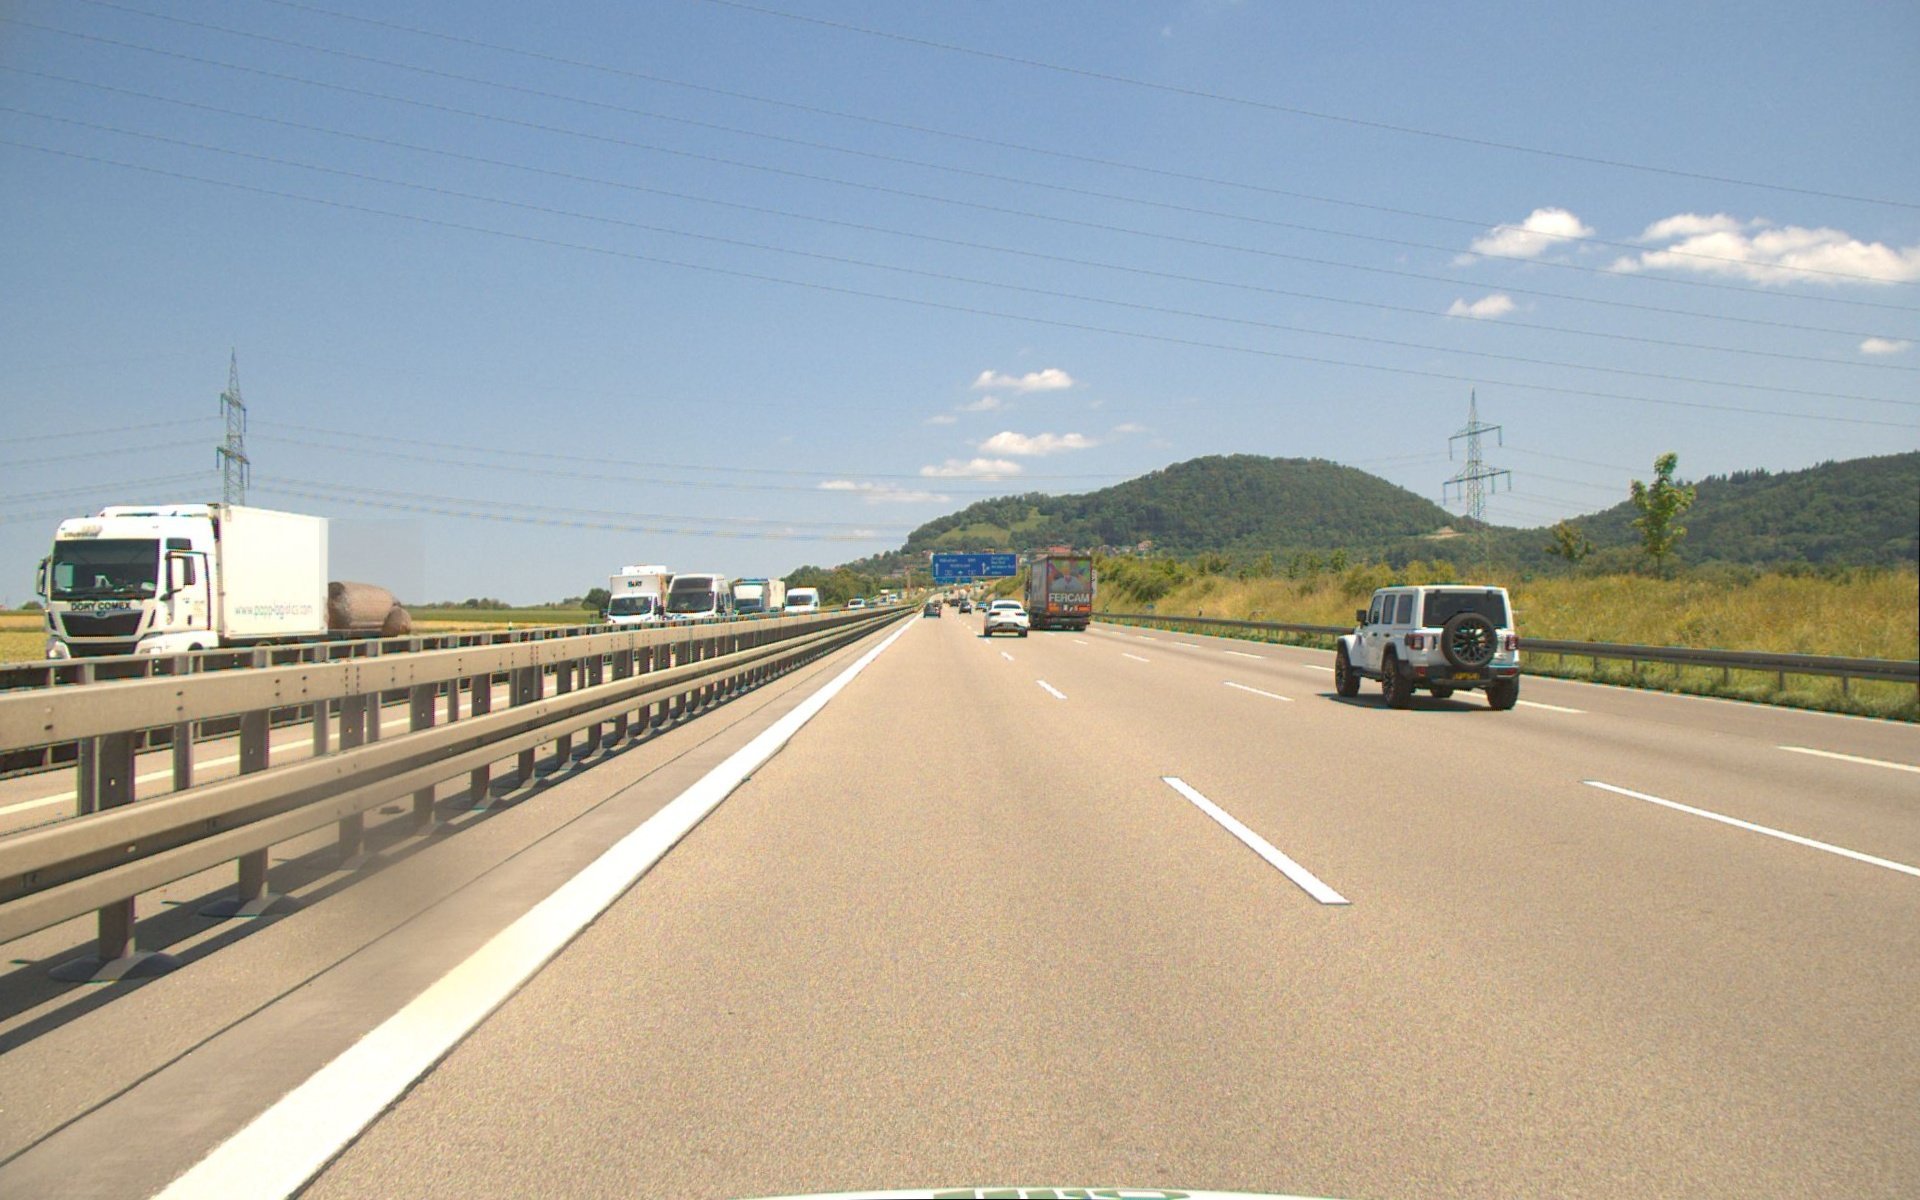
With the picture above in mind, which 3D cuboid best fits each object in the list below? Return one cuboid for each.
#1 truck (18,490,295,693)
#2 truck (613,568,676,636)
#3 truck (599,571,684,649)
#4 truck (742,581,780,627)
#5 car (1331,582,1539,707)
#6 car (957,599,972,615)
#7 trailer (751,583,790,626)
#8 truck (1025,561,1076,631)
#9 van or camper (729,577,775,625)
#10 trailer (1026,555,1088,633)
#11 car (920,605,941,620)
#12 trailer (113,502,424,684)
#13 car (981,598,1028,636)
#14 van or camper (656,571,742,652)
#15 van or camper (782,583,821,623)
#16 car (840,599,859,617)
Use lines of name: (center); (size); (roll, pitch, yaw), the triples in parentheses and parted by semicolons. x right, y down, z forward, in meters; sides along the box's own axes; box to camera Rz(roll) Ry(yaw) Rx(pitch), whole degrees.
truck: (-17.273, -0.131, 36.123); (2.879, 3.999, 6.475); (1, -1, -1)
truck: (-18.273, 0.131, 96.112); (2.663, 3.755, 6.053); (1, -1, -2)
truck: (-13.515, 0.431, 70.596); (2.204, 3.062, 7.426); (-2, 0, -1)
truck: (-18.678, 0.372, 155.718); (2.763, 4.161, 7.529); (1, -1, -1)
car: (7.470, 0.654, 26.454); (1.993, 1.836, 4.249); (0, 0, -2)
car: (0.621, 0.949, 221.377); (1.953, 2.049, 3.999); (1, -1, 0)
trailer: (-18.868, 0.462, 165.334); (2.775, 4.117, 11.662); (1, -1, -1)
truck: (5.497, -0.193, 101.543); (2.696, 4.091, 6.787); (1, -1, -1)
van or camper: (-14.457, 0.071, 115.529); (2.293, 3.220, 7.399); (-1, 0, -1)
trailer: (5.539, -0.270, 95.872); (2.670, 4.228, 11.805); (1, -1, -1)
car: (-2.879, 1.195, 160.581); (1.953, 1.413, 3.999); (1, -1, 0)
trailer: (-17.411, -0.091, 43.139); (2.897, 3.986, 12.890); (1, -1, -1)
car: (1.964, 0.759, 74.633); (1.875, 1.608, 5.229); (1, -1, -1)
van or camper: (-9.723, 0.401, 62.123); (2.114, 2.783, 7.294); (-2, 0, -1)
van or camper: (-10.697, 0.250, 111.779); (2.080, 2.620, 6.120); (1, -1, -1)
car: (-13.038, 0.953, 194.854); (1.944, 2.045, 4.648); (-2, 0, -1)
